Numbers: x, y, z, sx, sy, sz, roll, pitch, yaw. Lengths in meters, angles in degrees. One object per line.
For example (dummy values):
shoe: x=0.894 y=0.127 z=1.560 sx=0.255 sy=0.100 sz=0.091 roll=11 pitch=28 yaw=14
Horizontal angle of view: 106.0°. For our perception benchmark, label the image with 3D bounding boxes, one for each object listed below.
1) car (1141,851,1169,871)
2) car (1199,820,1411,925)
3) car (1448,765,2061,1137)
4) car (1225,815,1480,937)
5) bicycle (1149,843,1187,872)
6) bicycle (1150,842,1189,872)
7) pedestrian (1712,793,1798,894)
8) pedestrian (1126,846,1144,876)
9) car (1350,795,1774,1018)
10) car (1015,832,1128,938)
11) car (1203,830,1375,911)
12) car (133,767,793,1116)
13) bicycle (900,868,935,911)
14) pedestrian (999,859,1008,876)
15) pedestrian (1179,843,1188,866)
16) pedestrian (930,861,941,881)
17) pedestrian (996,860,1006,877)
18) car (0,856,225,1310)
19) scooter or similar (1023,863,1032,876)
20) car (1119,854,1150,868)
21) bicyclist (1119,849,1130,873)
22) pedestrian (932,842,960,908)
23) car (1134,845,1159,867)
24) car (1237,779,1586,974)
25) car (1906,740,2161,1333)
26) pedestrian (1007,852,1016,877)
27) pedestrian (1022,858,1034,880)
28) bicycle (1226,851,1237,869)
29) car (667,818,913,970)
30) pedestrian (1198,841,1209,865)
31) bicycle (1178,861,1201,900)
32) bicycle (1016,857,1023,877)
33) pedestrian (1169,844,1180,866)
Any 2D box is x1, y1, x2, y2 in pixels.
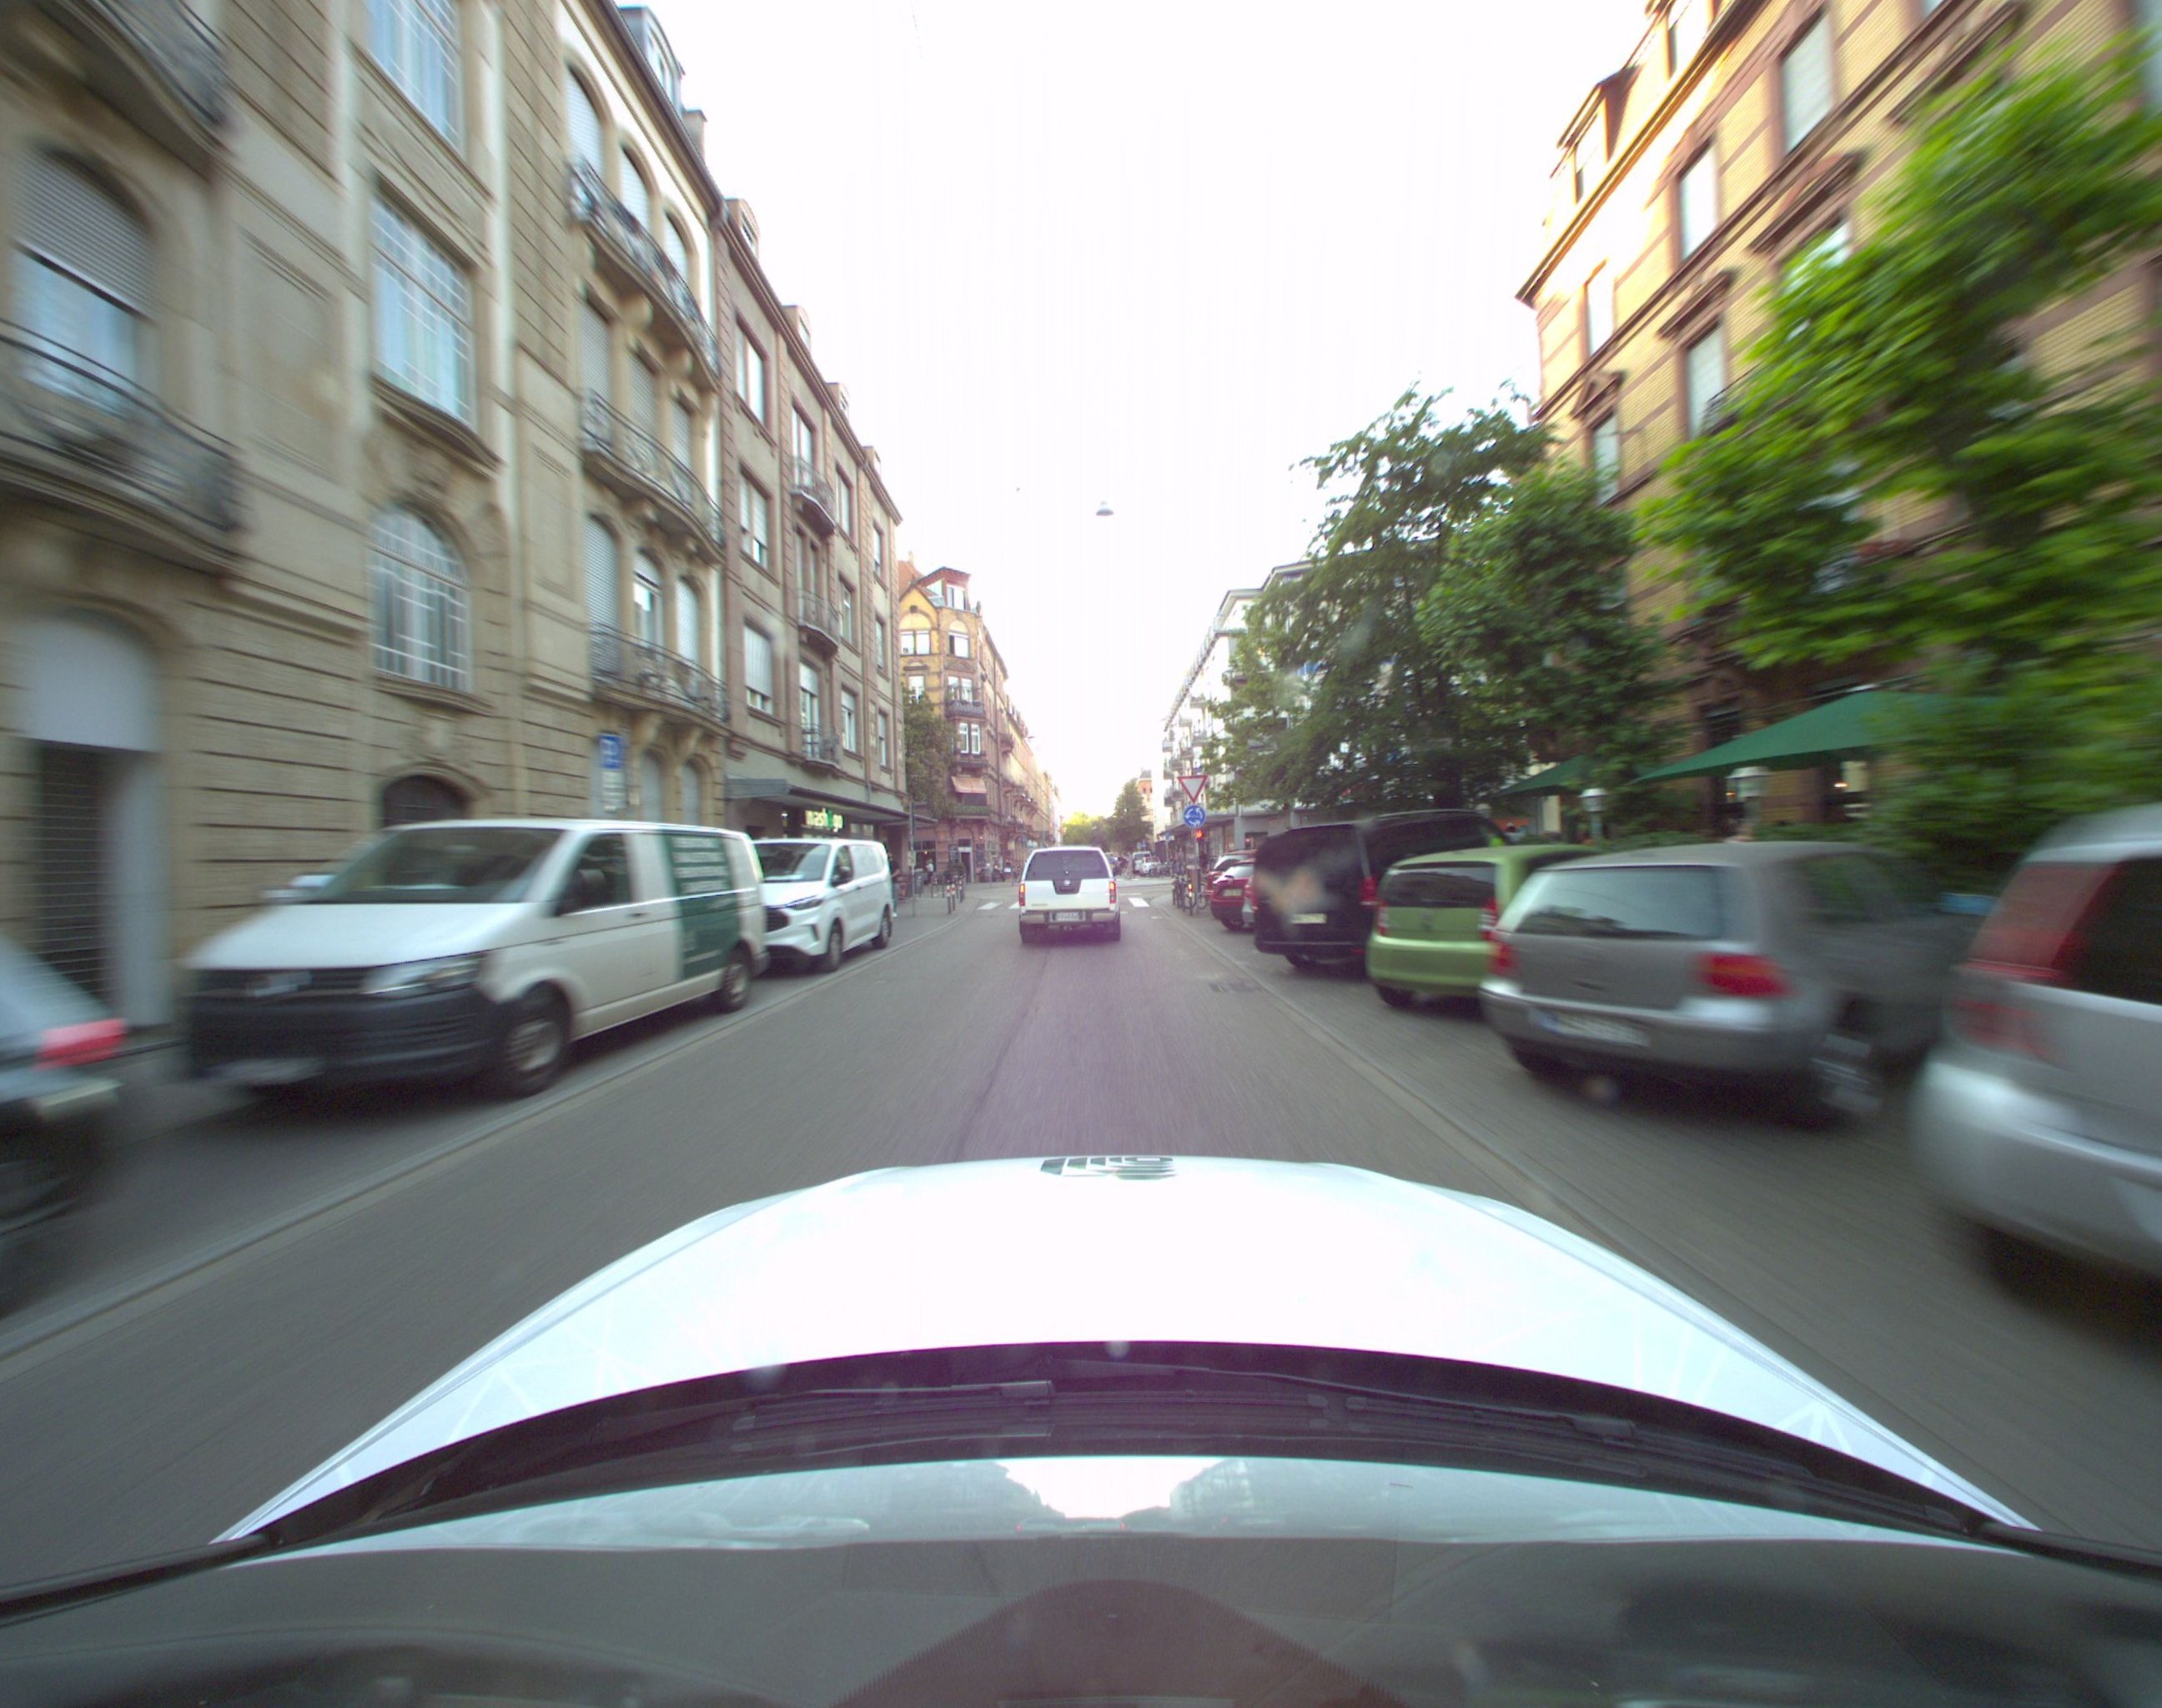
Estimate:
car: x=5.834 y=0.550 z=64.404 sx=1.828 sy=1.542 sz=4.000 roll=-1 pitch=-1 yaw=0
car: x=4.660 y=0.325 z=16.708 sx=4.245 sy=1.688 sz=1.911 roll=-5 pitch=1 yaw=-37
car: x=4.588 y=0.341 z=5.419 sx=4.123 sy=1.551 sz=1.801 roll=-5 pitch=1 yaw=-31
car: x=4.817 y=0.315 z=14.271 sx=4.241 sy=1.622 sz=1.913 roll=-5 pitch=1 yaw=-33
bicycle: x=6.169 y=0.228 z=57.739 sx=2.637 sy=2.014 sz=0.638 roll=-1 pitch=-1 yaw=2
bicycle: x=6.190 y=0.218 z=56.924 sx=2.637 sy=2.014 sz=0.638 roll=-1 pitch=-1 yaw=2
pedestrian: x=9.440 y=-0.143 z=11.423 sx=0.586 sy=1.366 sz=0.696 roll=-1 pitch=-1 yaw=-3
pedestrian: x=3.466 y=0.439 z=52.405 sx=0.909 sy=1.885 sz=0.610 roll=0 pitch=-1 yaw=-30
car: x=4.854 y=0.356 z=8.097 sx=4.123 sy=1.551 sz=1.801 roll=-5 pitch=1 yaw=-31
car: x=-0.034 y=0.569 z=16.601 sx=1.930 sy=1.810 sz=5.004 roll=-1 pitch=-1 yaw=3
car: x=5.147 y=0.347 z=20.040 sx=4.063 sy=1.627 sz=1.676 roll=-4 pitch=1 yaw=-31
car: x=-4.373 y=0.504 z=7.044 sx=1.830 sy=1.921 sz=4.848 roll=-2 pitch=0 yaw=2
bicycle: x=-4.572 y=0.967 z=22.864 sx=0.469 sy=1.142 sz=1.787 roll=-1 pitch=-1 yaw=5
pedestrian: x=-5.695 y=0.993 z=59.864 sx=0.647 sy=1.286 sz=0.539 roll=-1 pitch=-1 yaw=-3
pedestrian: x=8.761 y=0.026 z=69.687 sx=0.717 sy=1.906 sz=0.703 roll=-1 pitch=-1 yaw=1
pedestrian: x=-9.369 y=1.110 z=52.448 sx=0.451 sy=1.262 sz=0.578 roll=-1 pitch=-1 yaw=25
pedestrian: x=-5.749 y=1.027 z=58.678 sx=0.647 sy=1.191 sz=0.539 roll=-1 pitch=-1 yaw=-3
car: x=-4.418 y=0.766 z=1.223 sx=1.831 sy=1.471 sz=4.171 roll=-2 pitch=0 yaw=-1
scooter or similar: x=-3.912 y=1.145 z=59.961 sx=0.234 sy=0.929 sz=1.256 roll=-1 pitch=-1 yaw=-24
car: x=7.191 y=0.920 z=109.411 sx=3.974 sy=1.750 sz=1.840 roll=-1 pitch=-1 yaw=0
bicyclist: x=3.663 y=0.584 z=68.253 sx=0.834 sy=1.944 sz=0.786 roll=-1 pitch=-1 yaw=5
pedestrian: x=-3.801 y=0.581 z=22.950 sx=0.534 sy=1.824 sz=0.998 roll=-1 pitch=-1 yaw=5
car: x=5.887 y=0.196 z=73.190 sx=1.936 sy=1.934 sz=4.000 roll=-1 pitch=-1 yaw=0
car: x=4.834 y=0.134 z=11.436 sx=5.464 sy=2.072 sz=1.911 roll=-5 pitch=1 yaw=-37
car: x=4.774 y=0.323 z=3.032 sx=4.129 sy=1.590 sz=1.798 roll=-5 pitch=1 yaw=-37
pedestrian: x=-5.025 y=0.749 z=58.891 sx=0.506 sy=1.840 sz=0.569 roll=-1 pitch=-1 yaw=-22
pedestrian: x=-4.009 y=1.133 z=61.882 sx=0.795 sy=1.621 sz=0.944 roll=-1 pitch=-1 yaw=-1
bicycle: x=9.430 y=0.372 z=51.009 sx=0.289 sy=1.112 sz=0.962 roll=-1 pitch=-1 yaw=-11
car: x=-4.315 y=0.530 z=13.144 sx=2.103 sy=1.921 sz=5.024 roll=-2 pitch=0 yaw=0
pedestrian: x=8.583 y=-0.092 z=57.086 sx=0.717 sy=1.663 sz=0.703 roll=-1 pitch=-1 yaw=3
bicycle: x=3.108 y=0.745 z=23.449 sx=0.363 sy=1.063 sz=1.551 roll=-1 pitch=-1 yaw=-2
bicycle: x=-4.411 y=0.934 z=58.530 sx=0.423 sy=1.442 sz=1.902 roll=-1 pitch=-1 yaw=-3
pedestrian: x=7.084 y=0.080 z=61.603 sx=0.717 sy=1.663 sz=0.703 roll=-1 pitch=-1 yaw=1
